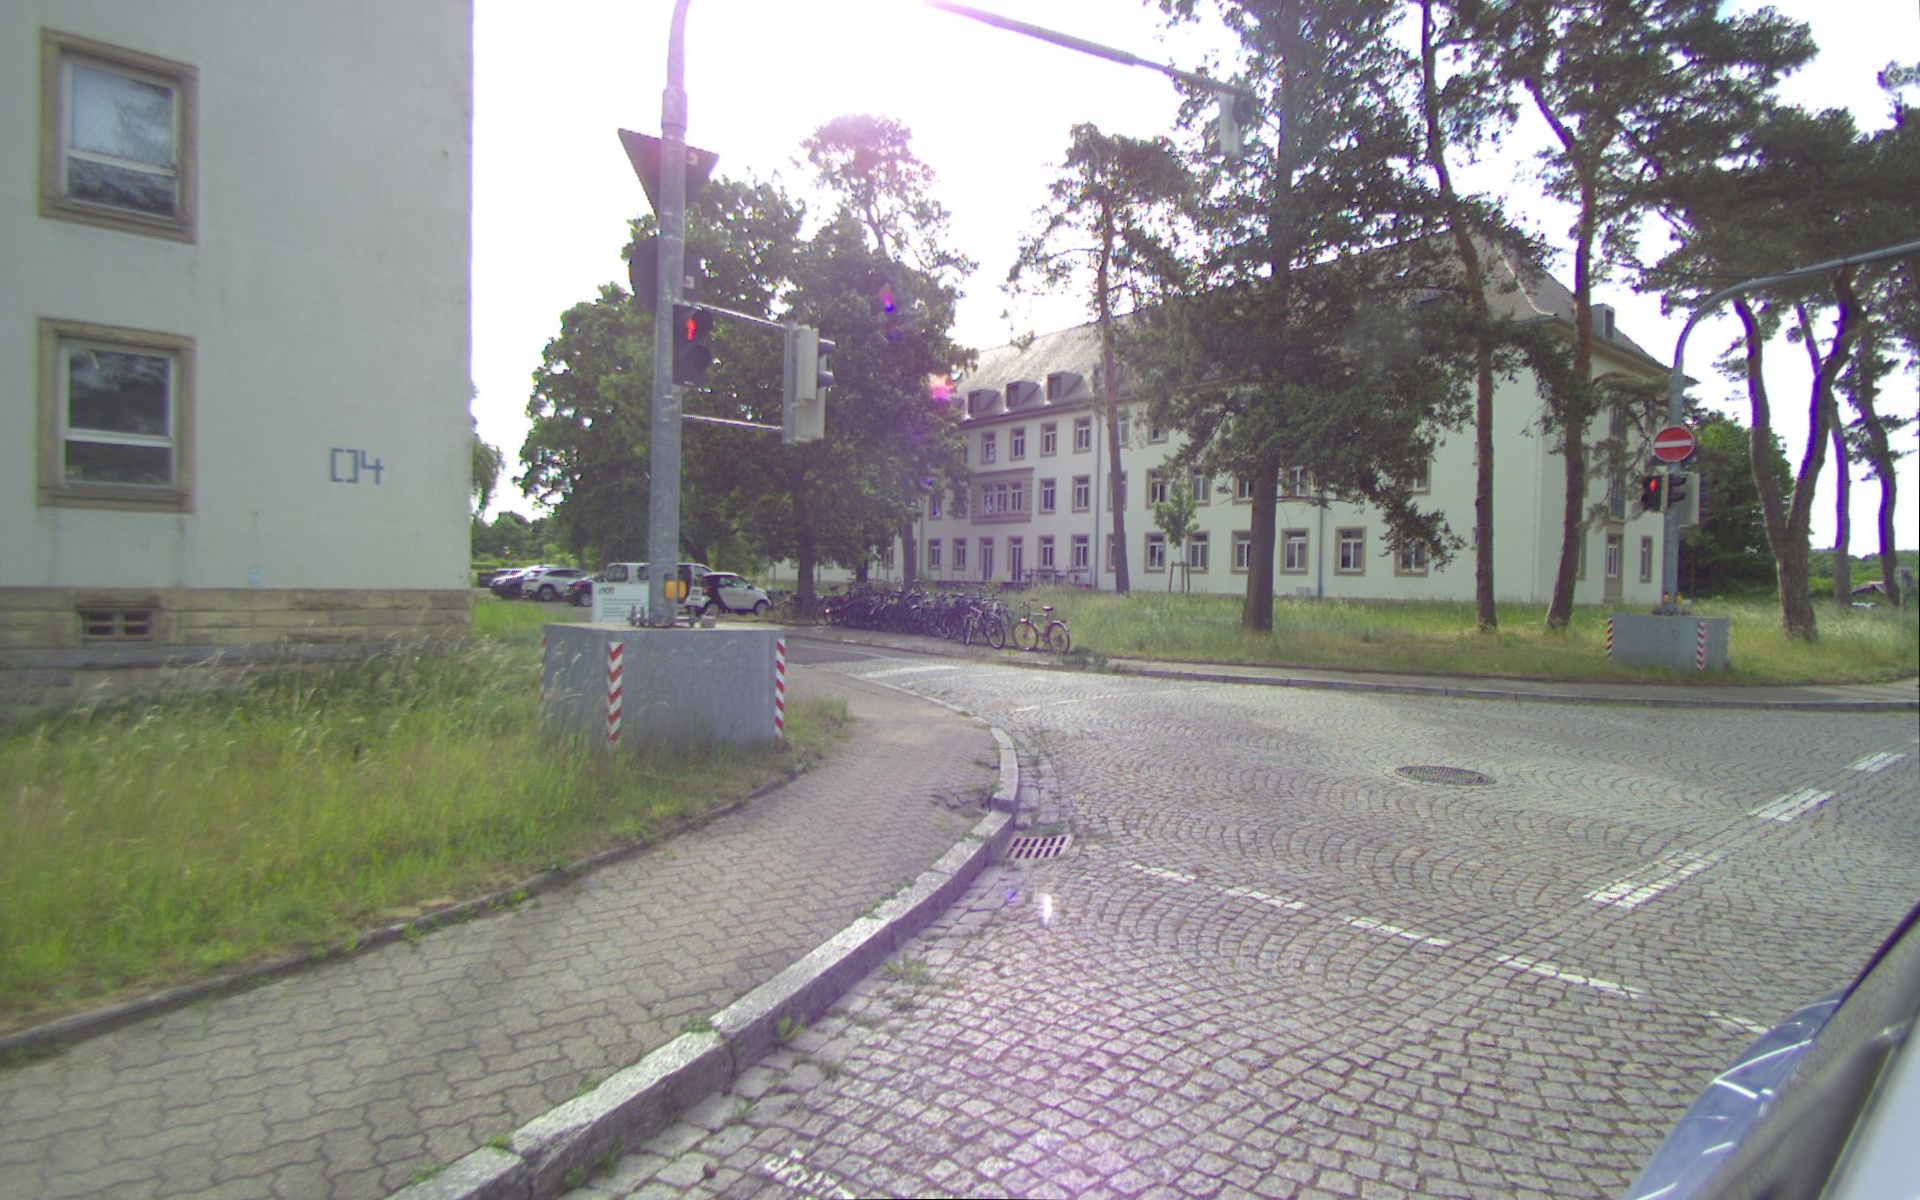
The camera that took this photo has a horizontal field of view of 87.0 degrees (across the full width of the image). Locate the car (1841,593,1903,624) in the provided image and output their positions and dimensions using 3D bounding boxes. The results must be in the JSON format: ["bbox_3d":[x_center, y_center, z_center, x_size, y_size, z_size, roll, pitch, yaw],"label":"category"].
[{"bbox_3d":[48.007,0.430,53.262,3.626,1.552,1.772,0,1,-37],"label":"car"}]

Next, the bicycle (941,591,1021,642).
[{"bbox_3d":[0.425,0.344,21.934,0.716,1.009,1.980,1,1,-34],"label":"bicycle"}]

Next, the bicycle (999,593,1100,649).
[{"bbox_3d":[1.775,0.395,20.338,0.887,1.009,1.977,0,1,-39],"label":"bicycle"}]

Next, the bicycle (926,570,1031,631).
[{"bbox_3d":[0.470,0.001,24.391,2.580,1.384,0.873,0,1,-39],"label":"bicycle"}]

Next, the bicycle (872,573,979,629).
[{"bbox_3d":[-0.860,0.016,26.316,2.761,1.389,0.950,0,1,-39],"label":"bicycle"}]

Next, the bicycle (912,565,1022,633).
[{"bbox_3d":[0.199,-0.041,25.287,2.761,1.603,0.950,0,1,-39],"label":"bicycle"}]

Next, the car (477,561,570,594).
[{"bbox_3d":[-21.820,-1.114,50.655,3.930,1.620,1.701,0,2,-41],"label":"car"}]

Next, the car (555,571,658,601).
[{"bbox_3d":[-15.512,-0.610,44.495,3.930,1.214,1.701,0,2,-41],"label":"car"}]

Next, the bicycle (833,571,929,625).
[{"bbox_3d":[-2.142,-0.061,27.665,2.530,1.389,0.949,0,1,-40],"label":"bicycle"}]

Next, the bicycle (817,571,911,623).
[{"bbox_3d":[-2.672,-0.081,28.316,2.530,1.389,0.949,0,1,-40],"label":"bicycle"}]

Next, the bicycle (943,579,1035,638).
[{"bbox_3d":[0.698,0.190,23.796,2.082,1.322,0.873,0,1,-39],"label":"bicycle"}]

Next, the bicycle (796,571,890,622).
[{"bbox_3d":[-3.316,-0.105,28.872,2.530,1.389,0.949,0,1,-40],"label":"bicycle"}]

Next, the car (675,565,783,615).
[{"bbox_3d":[-8.134,-0.334,35.712,3.177,1.641,1.936,2,0,-40],"label":"car"}]

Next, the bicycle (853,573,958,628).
[{"bbox_3d":[-1.435,-0.006,26.999,2.761,1.389,0.950,0,1,-39],"label":"bicycle"}]

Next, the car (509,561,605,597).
[{"bbox_3d":[-19.326,-1.001,48.634,3.930,1.620,1.701,0,2,-41],"label":"car"}]

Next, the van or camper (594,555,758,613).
[{"bbox_3d":[-10.536,-0.603,37.981,2.227,1.981,5.679,2,2,39],"label":"van or camper"}]

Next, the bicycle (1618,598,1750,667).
[{"bbox_3d":[12.921,0.550,18.103,0.635,1.075,1.831,-4,5,-41],"label":"bicycle"}]

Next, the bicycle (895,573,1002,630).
[{"bbox_3d":[-0.279,0.036,26.098,2.761,1.389,0.950,0,1,-39],"label":"bicycle"}]
